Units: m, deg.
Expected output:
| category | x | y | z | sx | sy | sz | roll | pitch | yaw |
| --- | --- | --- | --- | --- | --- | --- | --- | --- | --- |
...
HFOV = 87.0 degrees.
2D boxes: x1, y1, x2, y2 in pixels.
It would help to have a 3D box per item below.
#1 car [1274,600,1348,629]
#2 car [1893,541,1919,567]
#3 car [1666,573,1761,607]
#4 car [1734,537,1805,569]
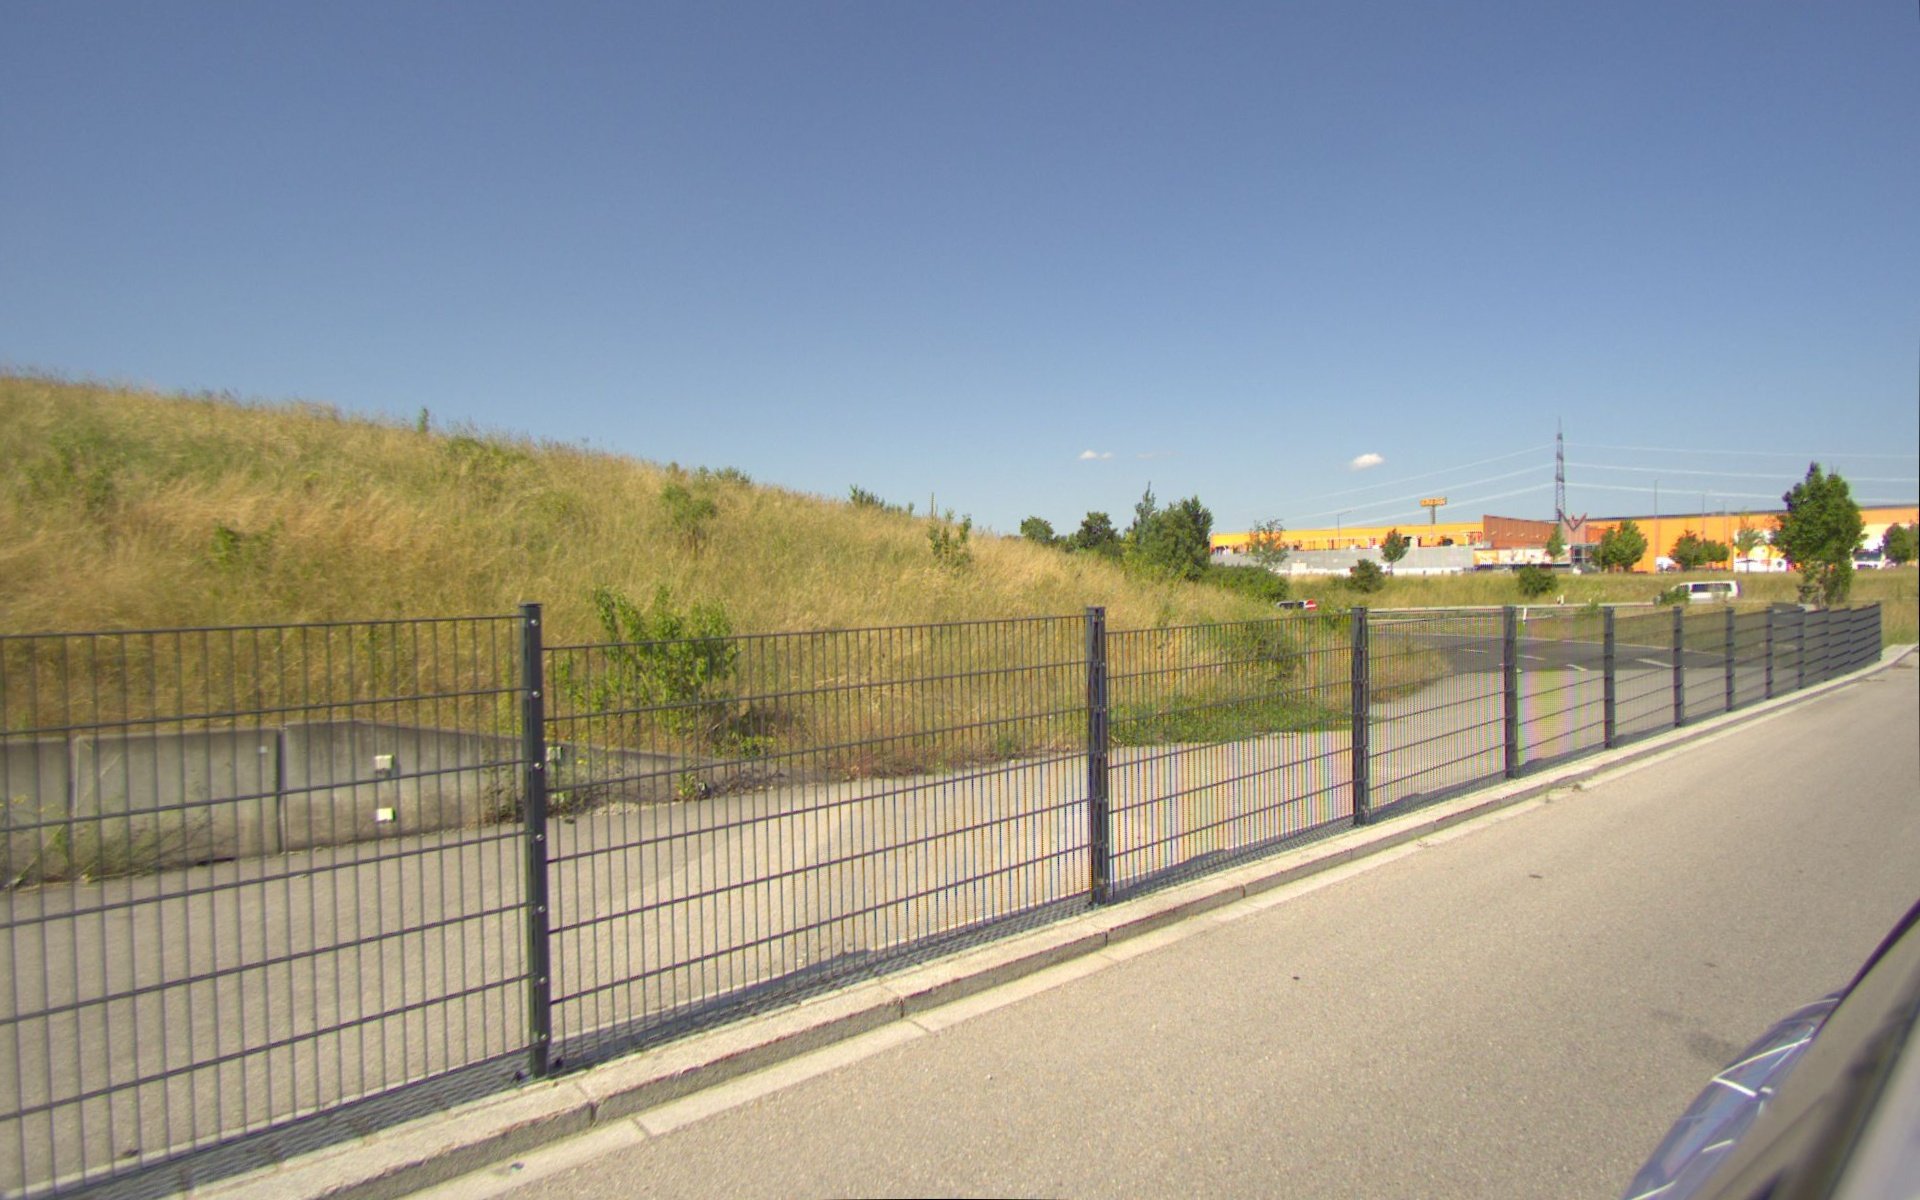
| category | x | y | z | sx | sy | sz | roll | pitch | yaw |
| --- | --- | --- | --- | --- | --- | --- | --- | --- | --- |
| car | 25.160 | 1.011 | 72.539 | 4.721 | 2.039 | 1.978 | -1 | 0 | 32 |
| car | 76.865 | -3.681 | 79.940 | 4.620 | 2.039 | 1.969 | 0 | 0 | 44 |
| car | 47.775 | -0.624 | 64.182 | 4.621 | 2.039 | 1.968 | 0 | 0 | 44 |
| car | 69.817 | -4.021 | 87.350 | 4.620 | 2.581 | 1.969 | -1 | 0 | 44 |
